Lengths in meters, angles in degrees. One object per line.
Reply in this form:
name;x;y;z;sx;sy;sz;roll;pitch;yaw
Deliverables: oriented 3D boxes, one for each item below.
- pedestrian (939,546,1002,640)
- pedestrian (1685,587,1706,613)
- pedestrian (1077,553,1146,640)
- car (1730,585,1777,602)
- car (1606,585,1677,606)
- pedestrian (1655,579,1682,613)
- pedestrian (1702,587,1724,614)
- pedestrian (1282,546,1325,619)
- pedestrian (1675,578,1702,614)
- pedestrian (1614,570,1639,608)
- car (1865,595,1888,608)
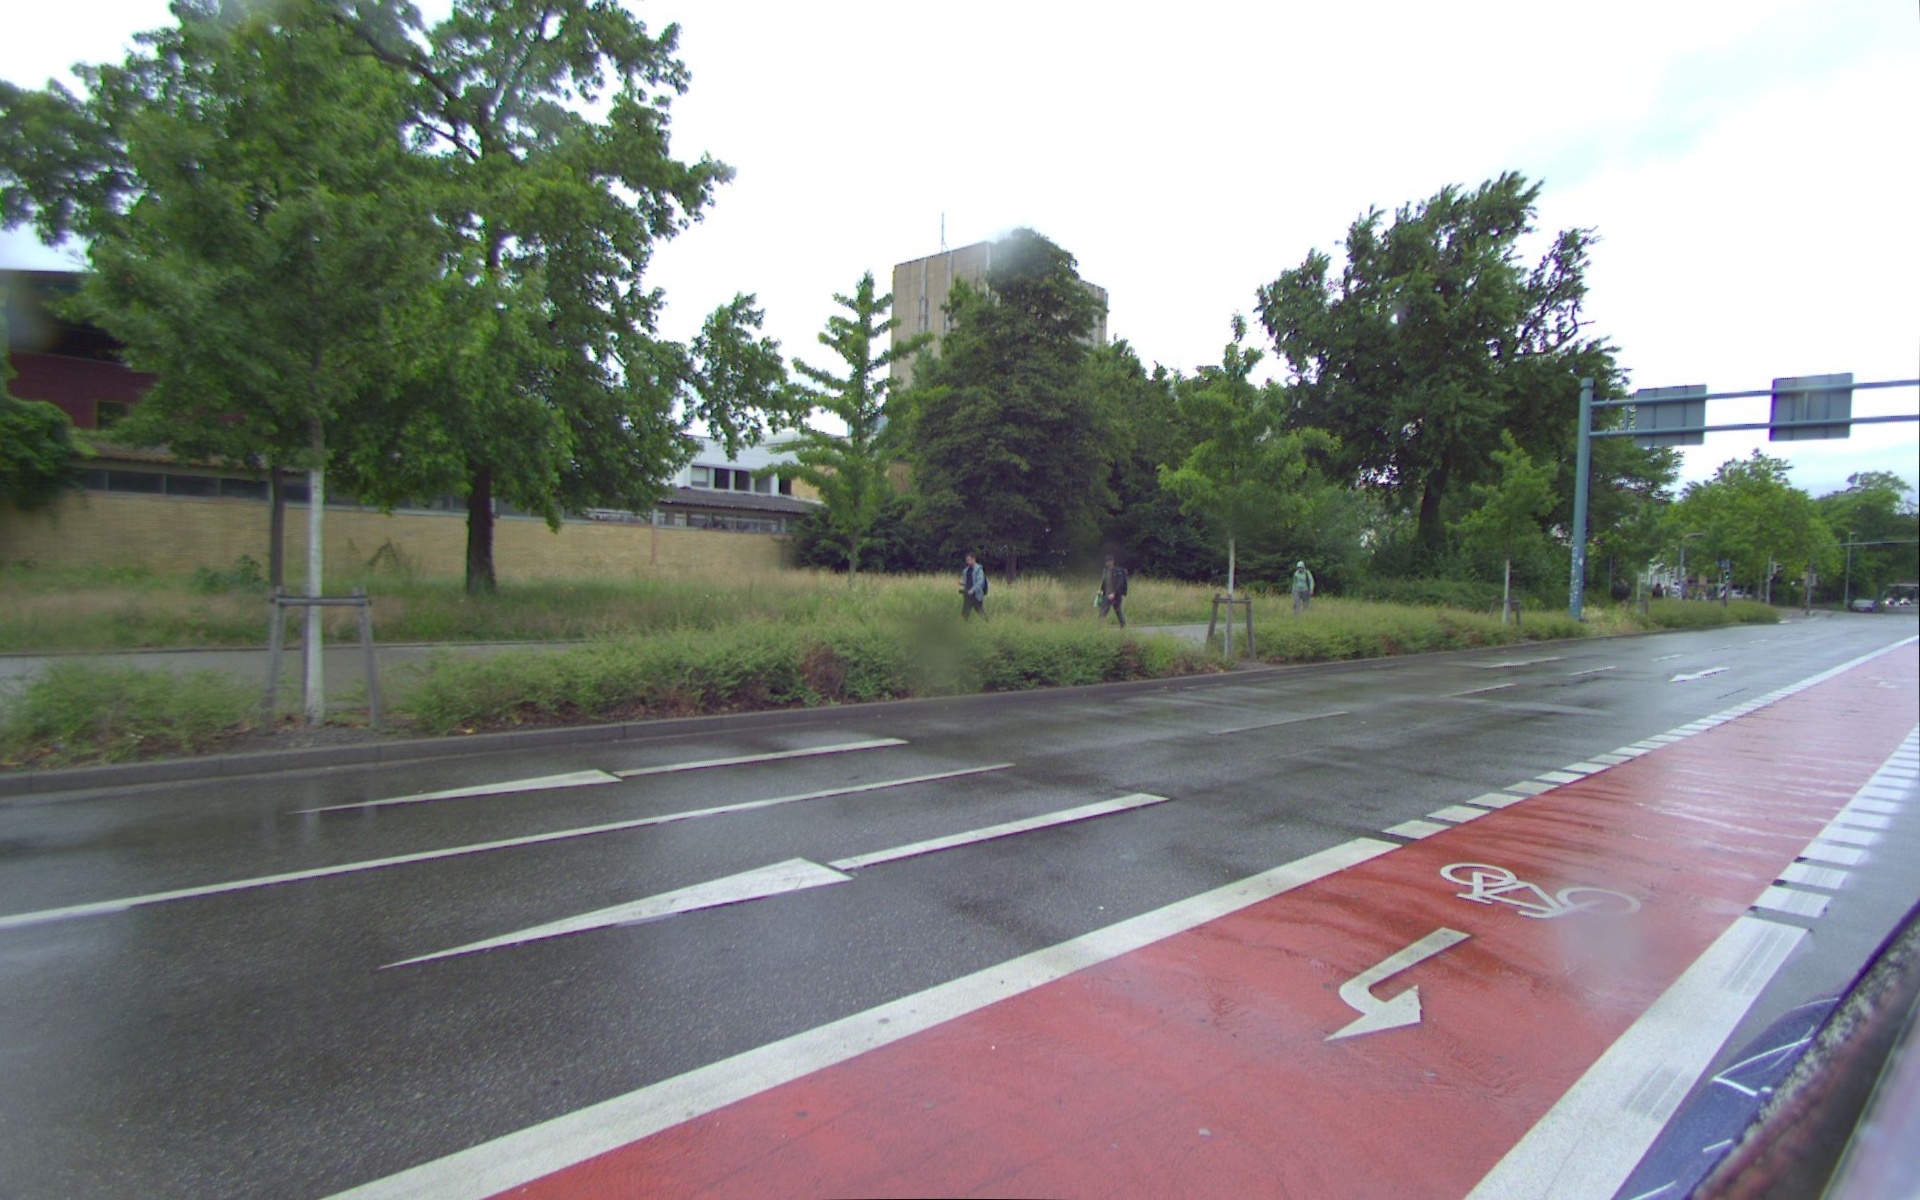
pedestrian;0.216;-0.149;20.380;0.813;1.819;0.936;1;2;-37
pedestrian;46.565;-0.005;64.099;0.868;1.627;0.856;3;2;25
pedestrian;3.192;-0.080;21.361;1.026;1.769;0.936;1;2;-38
car;97.506;-0.843;124.429;4.405;1.895;1.615;3;2;39
car;53.511;-0.374;79.478;4.375;1.353;1.747;4;5;43
pedestrian;36.859;-0.210;52.637;0.814;1.725;0.935;4;-2;-39
pedestrian;47.418;0.032;63.716;0.868;1.627;0.857;3;2;24
pedestrian;9.833;-0.514;28.966;0.813;2.038;0.793;1;2;-38
pedestrian;37.134;-0.205;51.582;0.814;1.743;0.935;4;-2;-39
pedestrian;33.434;-0.535;50.758;0.835;1.882;0.732;1;2;-38
car;96.341;0.122;106.347;1.657;1.282;4.042;4;3;44
